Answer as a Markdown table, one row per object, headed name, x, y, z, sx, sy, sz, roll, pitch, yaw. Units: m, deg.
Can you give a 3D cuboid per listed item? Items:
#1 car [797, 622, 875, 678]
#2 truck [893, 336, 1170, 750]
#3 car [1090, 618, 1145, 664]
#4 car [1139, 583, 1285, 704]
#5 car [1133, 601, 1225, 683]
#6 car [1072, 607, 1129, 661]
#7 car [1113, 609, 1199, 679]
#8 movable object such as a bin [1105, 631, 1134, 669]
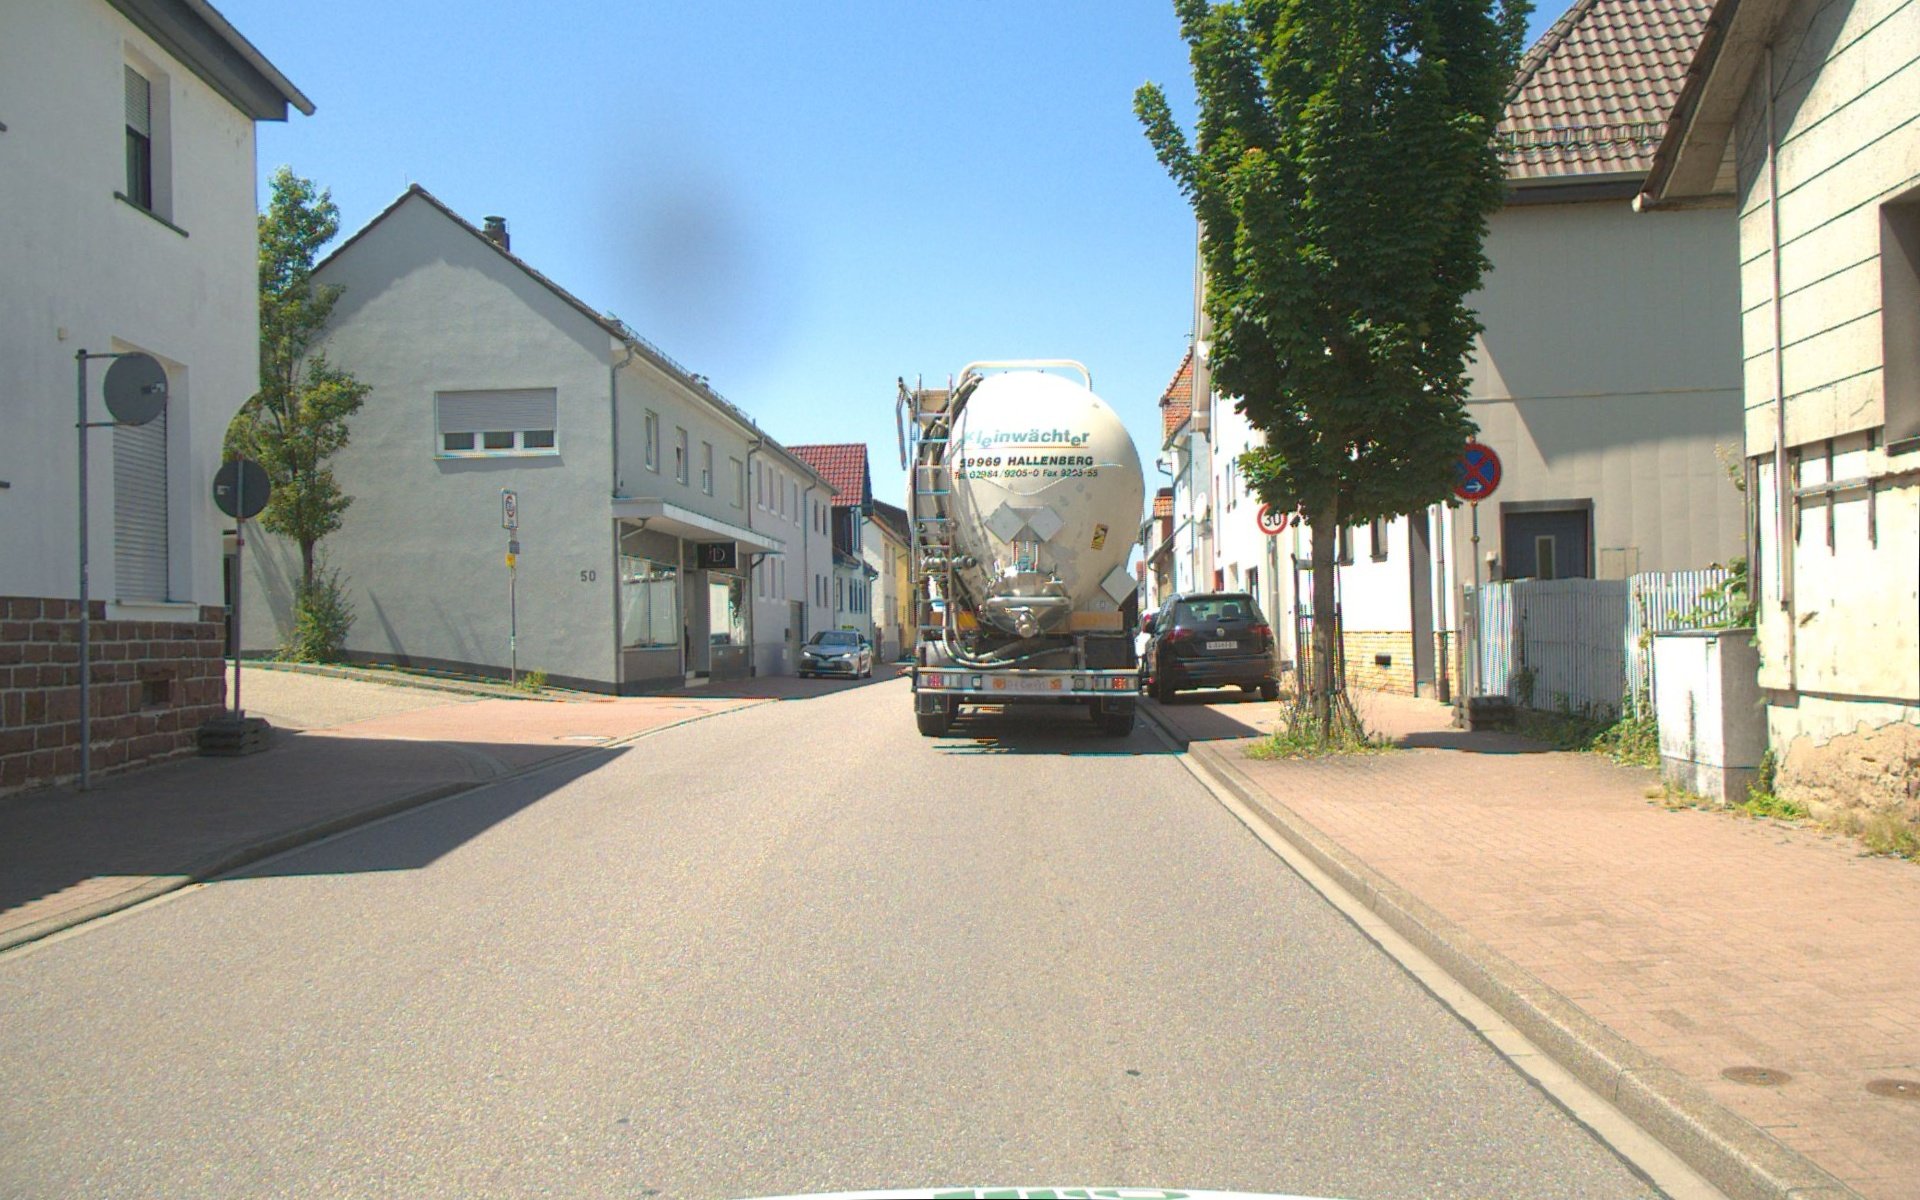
| name | x | y | z | sx | sy | sz | roll | pitch | yaw |
| --- | --- | --- | --- | --- | --- | --- | --- | --- | --- |
| car | -3.727 | 1.507 | 50.383 | 1.770 | 1.584 | 4.566 | 1 | -1 | 3 |
| truck | 0.865 | -0.493 | 20.201 | 2.675 | 4.030 | 8.143 | 0 | -1 | 2 |
| car | 5.507 | 1.447 | 58.167 | 1.733 | 1.491 | 4.579 | -2 | -1 | 4 |
| car | 3.891 | 0.649 | 26.183 | 1.765 | 1.642 | 4.550 | -3 | -1 | 3 |
| car | 4.572 | 0.883 | 34.923 | 1.573 | 1.549 | 3.546 | -4 | -2 | 3 |
| car | 5.577 | 1.374 | 66.123 | 1.906 | 2.005 | 4.785 | -2 | -1 | 1 |
| car | 4.717 | 1.067 | 40.337 | 1.665 | 1.472 | 4.838 | -4 | -2 | 3 |
| movable object such as a bin | 4.636 | 1.456 | 48.034 | 0.642 | 1.053 | 0.684 | -4 | -2 | 19 |
